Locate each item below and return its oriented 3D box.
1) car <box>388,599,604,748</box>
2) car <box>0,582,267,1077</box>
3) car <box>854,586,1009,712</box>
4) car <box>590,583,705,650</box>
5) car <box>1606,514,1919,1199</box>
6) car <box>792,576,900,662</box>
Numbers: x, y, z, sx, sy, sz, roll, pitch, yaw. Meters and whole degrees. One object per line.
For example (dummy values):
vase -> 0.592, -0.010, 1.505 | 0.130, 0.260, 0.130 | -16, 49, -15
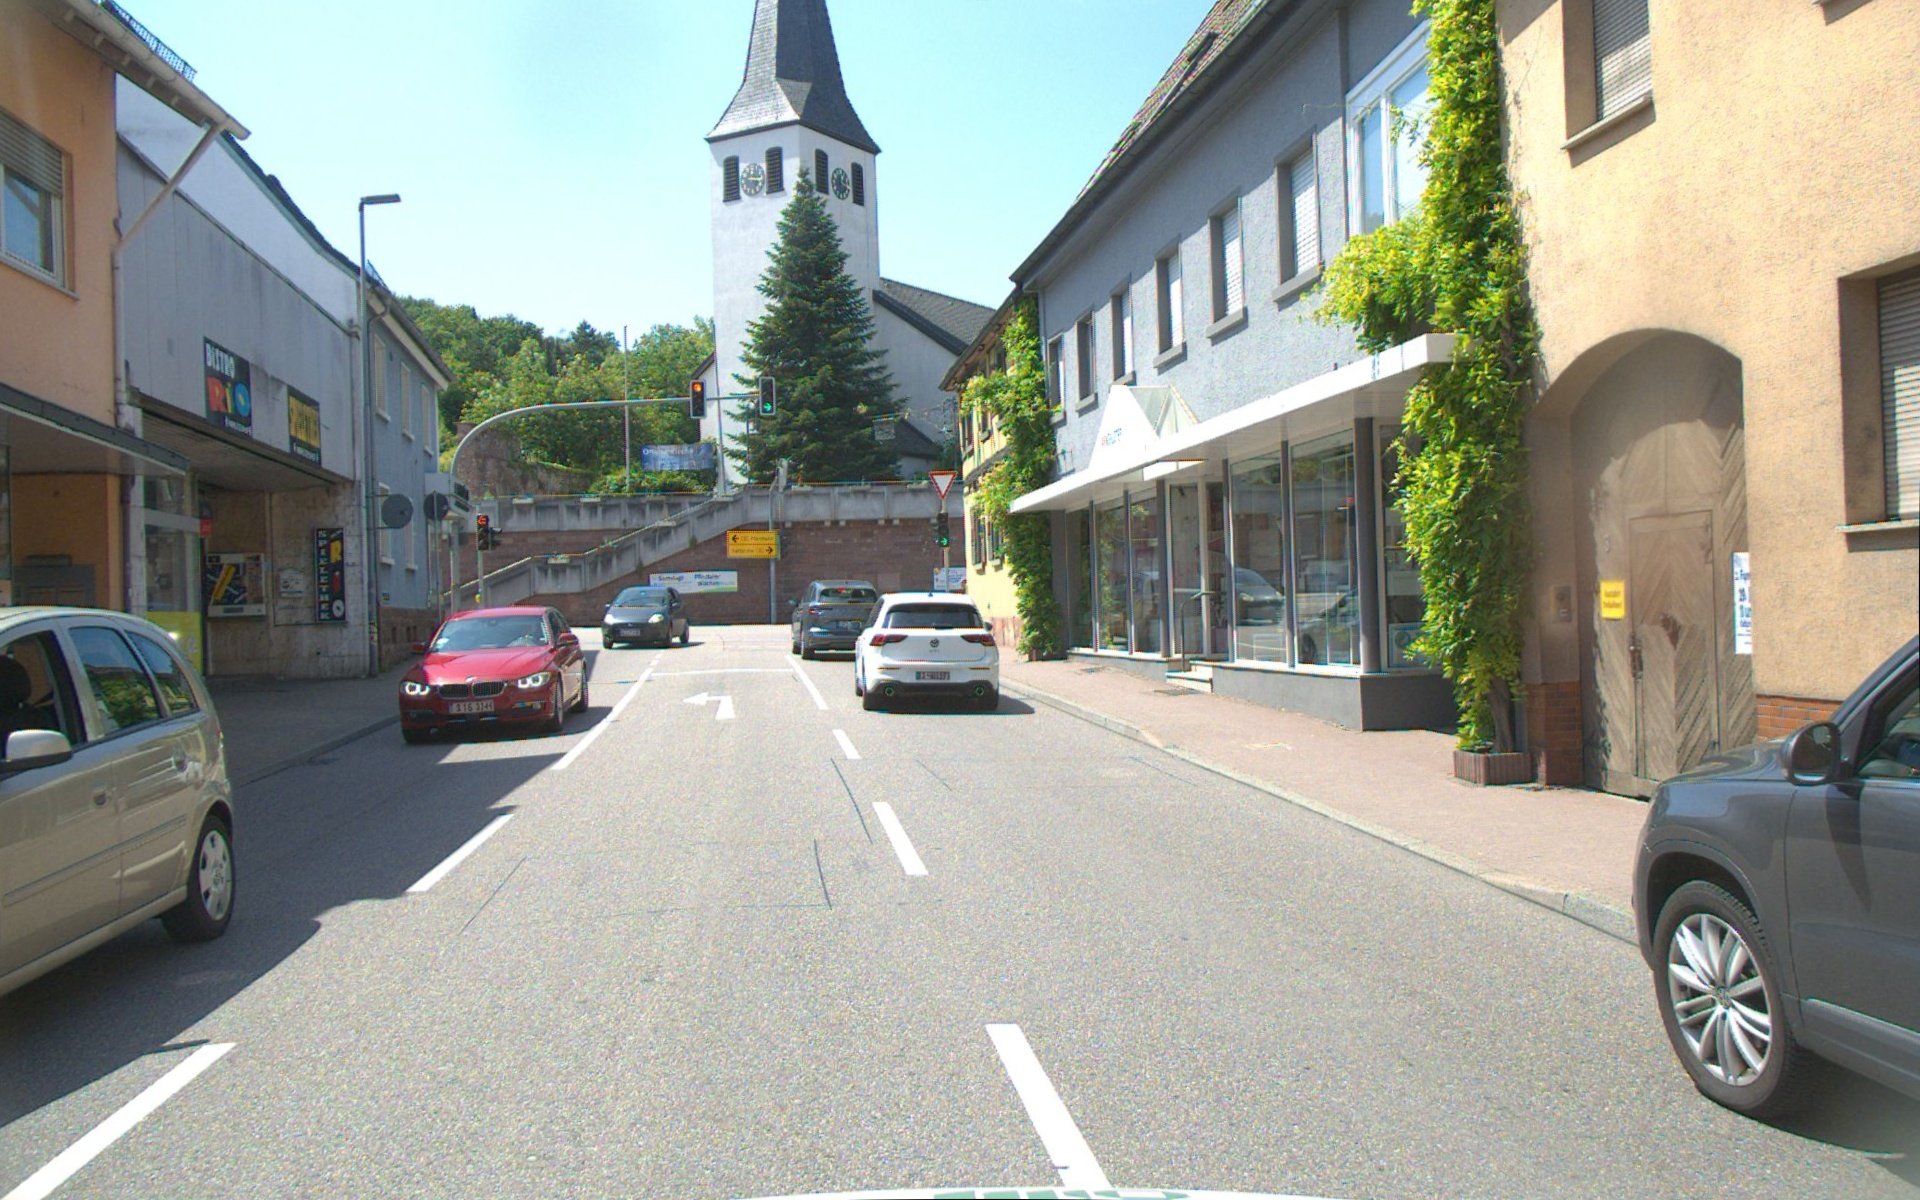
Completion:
car -> -5.545, 0.802, 20.271 | 1.684, 1.433, 4.280 | -4, 1, -5
car -> -4.178, 0.820, 6.349 | 1.647, 1.645, 3.817 | -4, 1, -6
car -> -0.465, 0.588, 22.093 | 1.748, 1.484, 3.858 | -1, 0, -6
car -> -7.800, 0.391, 41.624 | 1.681, 1.447, 3.824 | -3, 2, 8
car -> 3.295, 0.599, 3.502 | 1.954, 1.738, 4.098 | -4, 0, -4
car -> -2.509, 0.343, 35.362 | 1.913, 1.610, 4.317 | -1, 2, -9
